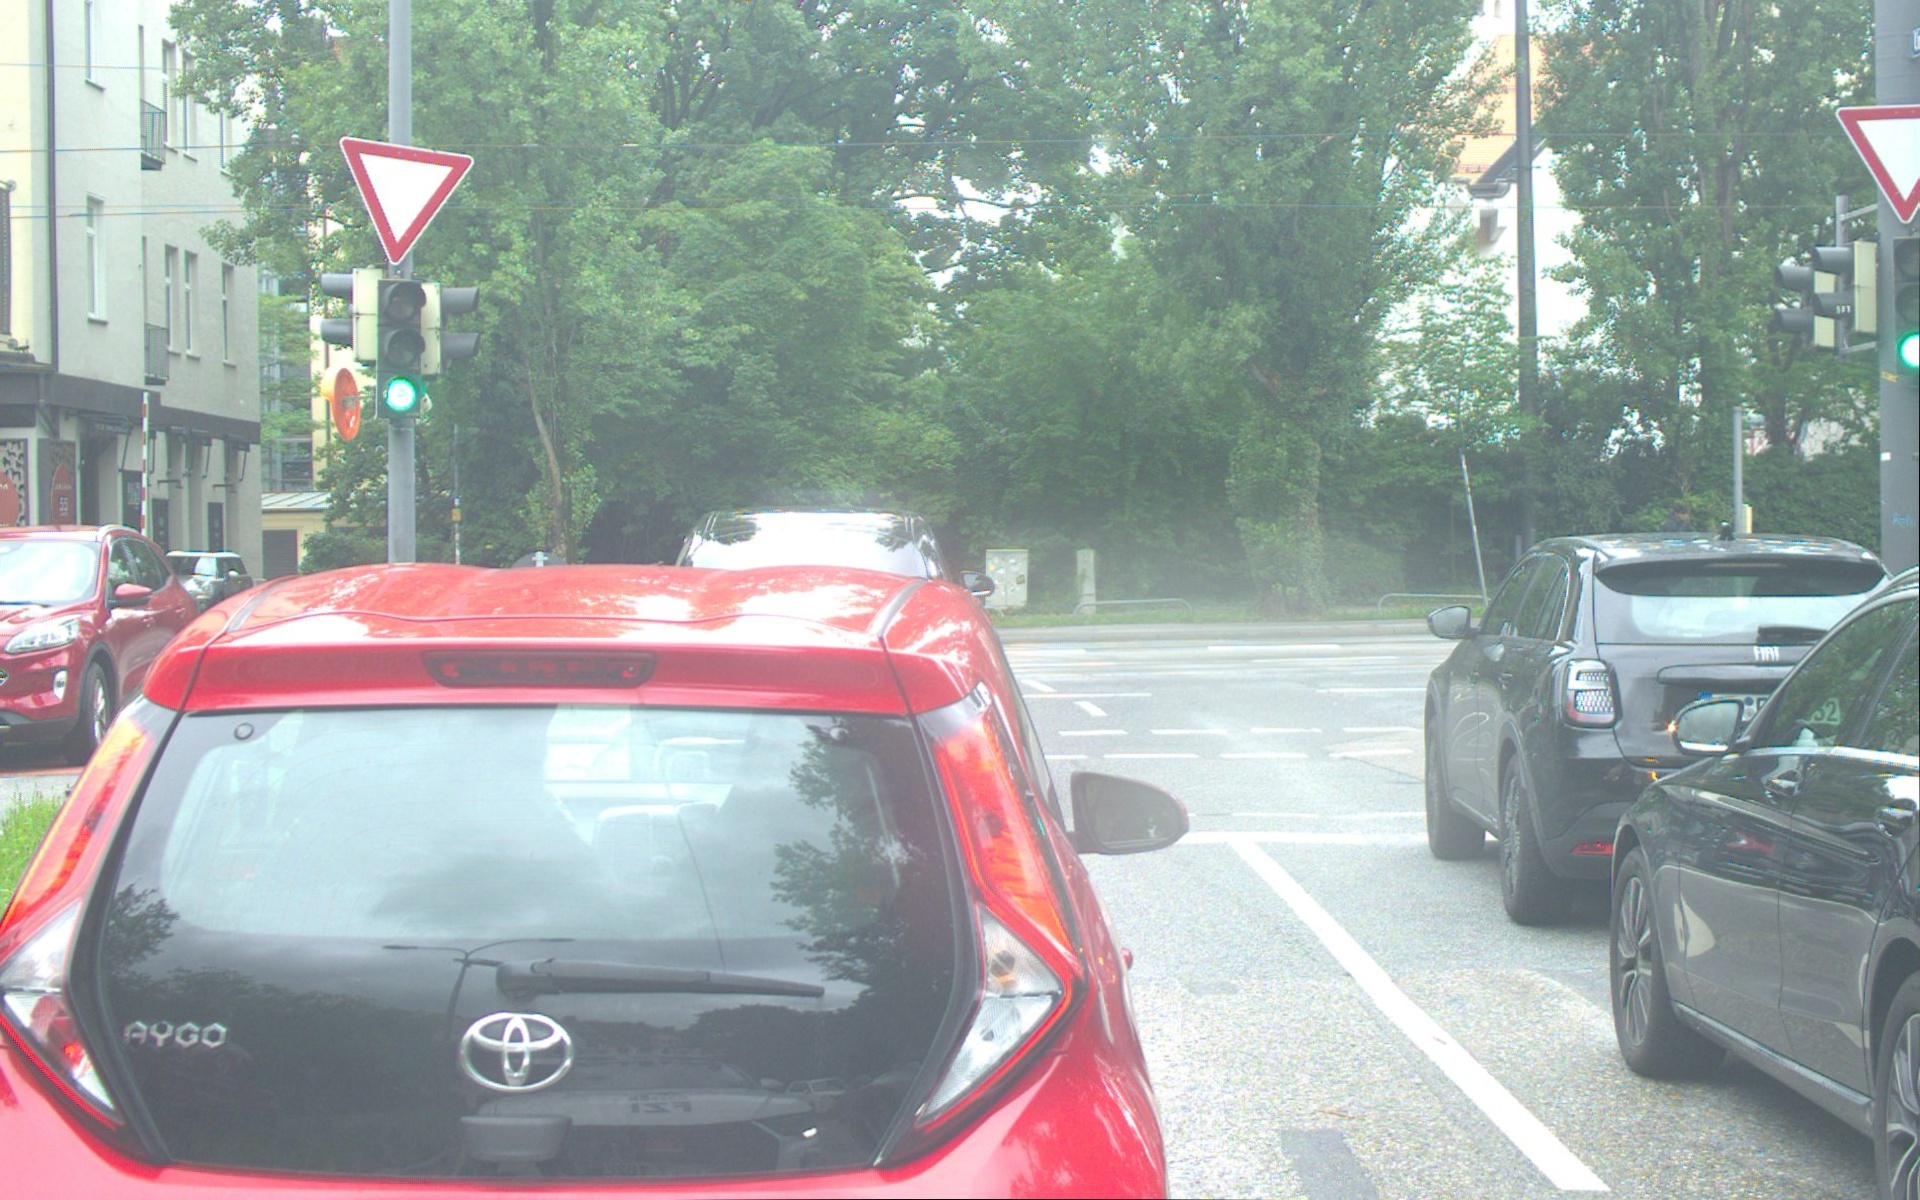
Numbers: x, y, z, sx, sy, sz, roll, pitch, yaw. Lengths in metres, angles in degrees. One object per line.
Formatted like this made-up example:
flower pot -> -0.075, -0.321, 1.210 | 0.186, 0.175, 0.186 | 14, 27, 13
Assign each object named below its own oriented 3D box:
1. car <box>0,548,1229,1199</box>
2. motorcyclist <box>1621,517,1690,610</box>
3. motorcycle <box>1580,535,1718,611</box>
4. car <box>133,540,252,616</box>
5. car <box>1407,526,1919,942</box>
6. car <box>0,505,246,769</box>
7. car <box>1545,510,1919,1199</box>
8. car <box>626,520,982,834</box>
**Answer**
car -> -0.494, 0.658, 5.549 | 1.628, 1.435, 3.377 | -1, 1, 1
motorcyclist -> 10.923, -0.571, 53.993 | 0.880, 1.438, 0.619 | 1, 0, 31
motorcycle -> 10.828, -0.429, 54.056 | 2.026, 1.165, 0.629 | 1, 0, 32
car -> -15.414, -0.467, 69.219 | 1.725, 1.437, 4.001 | -1, 1, -4
car -> 2.938, 0.458, 14.433 | 1.781, 1.481, 4.000 | -1, 1, 3
car -> -6.752, 0.193, 24.615 | 2.103, 1.632, 4.940 | -1, 2, 1
car -> 2.700, 0.586, 7.893 | 1.863, 1.544, 4.704 | 1, 1, 0
car -> -0.765, 0.337, 19.475 | 1.736, 1.544, 4.576 | -1, 1, 1
